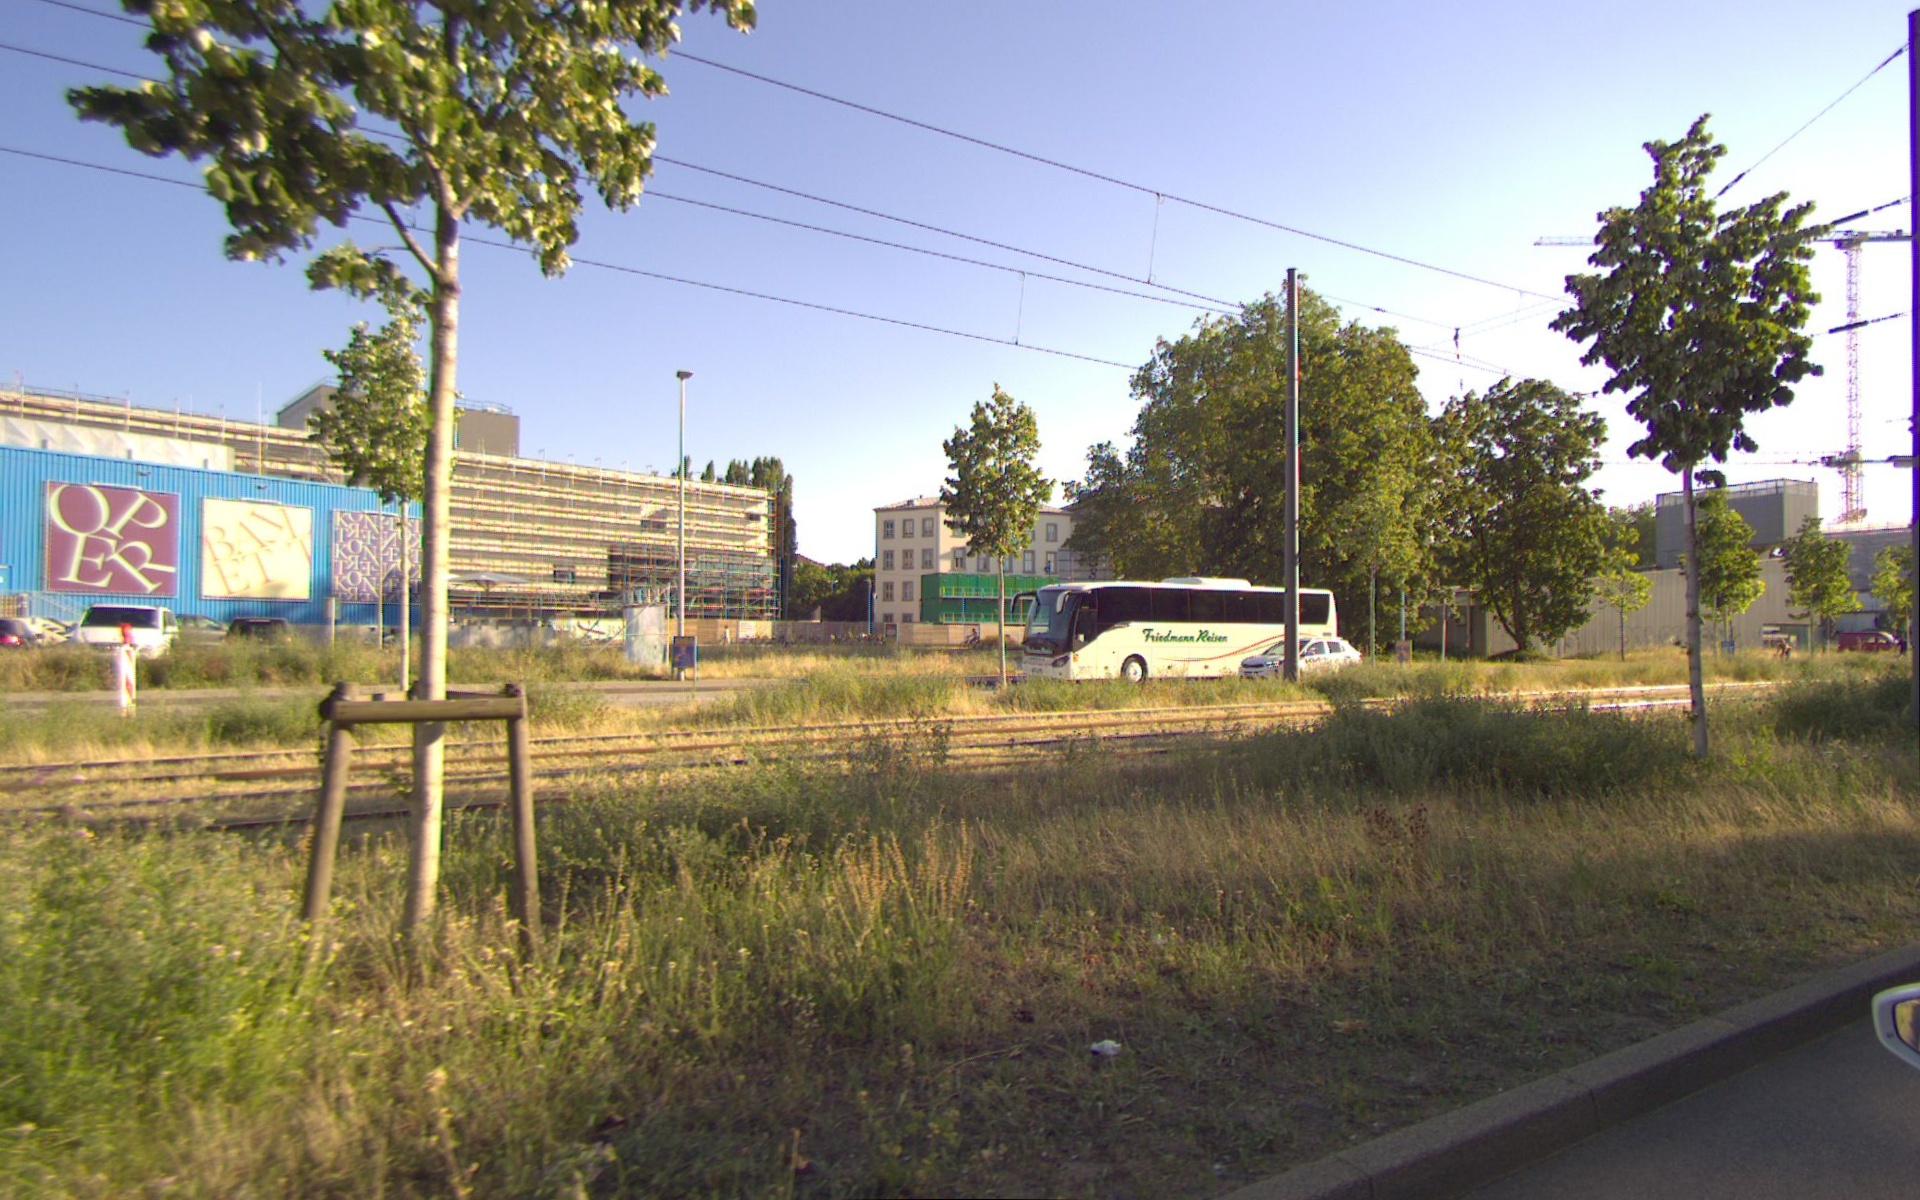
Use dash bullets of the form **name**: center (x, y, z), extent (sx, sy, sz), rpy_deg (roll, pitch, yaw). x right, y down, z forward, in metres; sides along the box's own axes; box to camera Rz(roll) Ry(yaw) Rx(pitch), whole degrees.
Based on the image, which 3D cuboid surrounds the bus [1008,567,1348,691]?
- **bus**: center (7.672, 1.037, 33.847), extent (12.545, 3.642, 2.787), rpy_deg (1, -2, -30)

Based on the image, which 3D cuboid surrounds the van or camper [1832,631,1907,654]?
- **van or camper**: center (98.449, 4.604, 108.858), extent (2.126, 2.446, 5.644), rpy_deg (1, -2, -25)

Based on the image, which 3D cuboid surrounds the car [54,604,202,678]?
- **car**: center (-21.776, 1.048, 26.528), extent (2.100, 1.739, 5.202), rpy_deg (1, -2, -30)

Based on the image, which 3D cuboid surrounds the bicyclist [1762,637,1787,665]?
- **bicyclist**: center (40.847, 2.557, 50.373), extent (0.860, 1.364, 0.685), rpy_deg (1, -2, -29)

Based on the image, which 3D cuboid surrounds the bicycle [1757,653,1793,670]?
- **bicycle**: center (40.902, 3.092, 50.385), extent (2.119, 0.815, 0.684), rpy_deg (1, -2, -29)

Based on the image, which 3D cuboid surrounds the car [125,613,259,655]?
- **car**: center (-31.975, 1.402, 41.923), extent (1.389, 1.657, 4.211), rpy_deg (-1, -2, 35)

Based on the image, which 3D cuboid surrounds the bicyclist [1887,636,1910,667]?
- **bicyclist**: center (53.109, 2.921, 56.841), extent (0.942, 1.730, 0.685), rpy_deg (1, -2, -27)

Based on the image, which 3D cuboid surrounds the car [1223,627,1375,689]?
- **car**: center (9.866, 1.653, 29.219), extent (4.117, 1.664, 1.985), rpy_deg (1, -2, -30)

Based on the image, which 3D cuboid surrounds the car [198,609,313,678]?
- **car**: center (-19.355, 1.170, 27.819), extent (2.100, 1.739, 5.202), rpy_deg (1, -2, -30)

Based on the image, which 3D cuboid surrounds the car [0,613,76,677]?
- **car**: center (-23.946, 1.101, 25.103), extent (1.977, 1.504, 3.969), rpy_deg (1, -2, -30)
